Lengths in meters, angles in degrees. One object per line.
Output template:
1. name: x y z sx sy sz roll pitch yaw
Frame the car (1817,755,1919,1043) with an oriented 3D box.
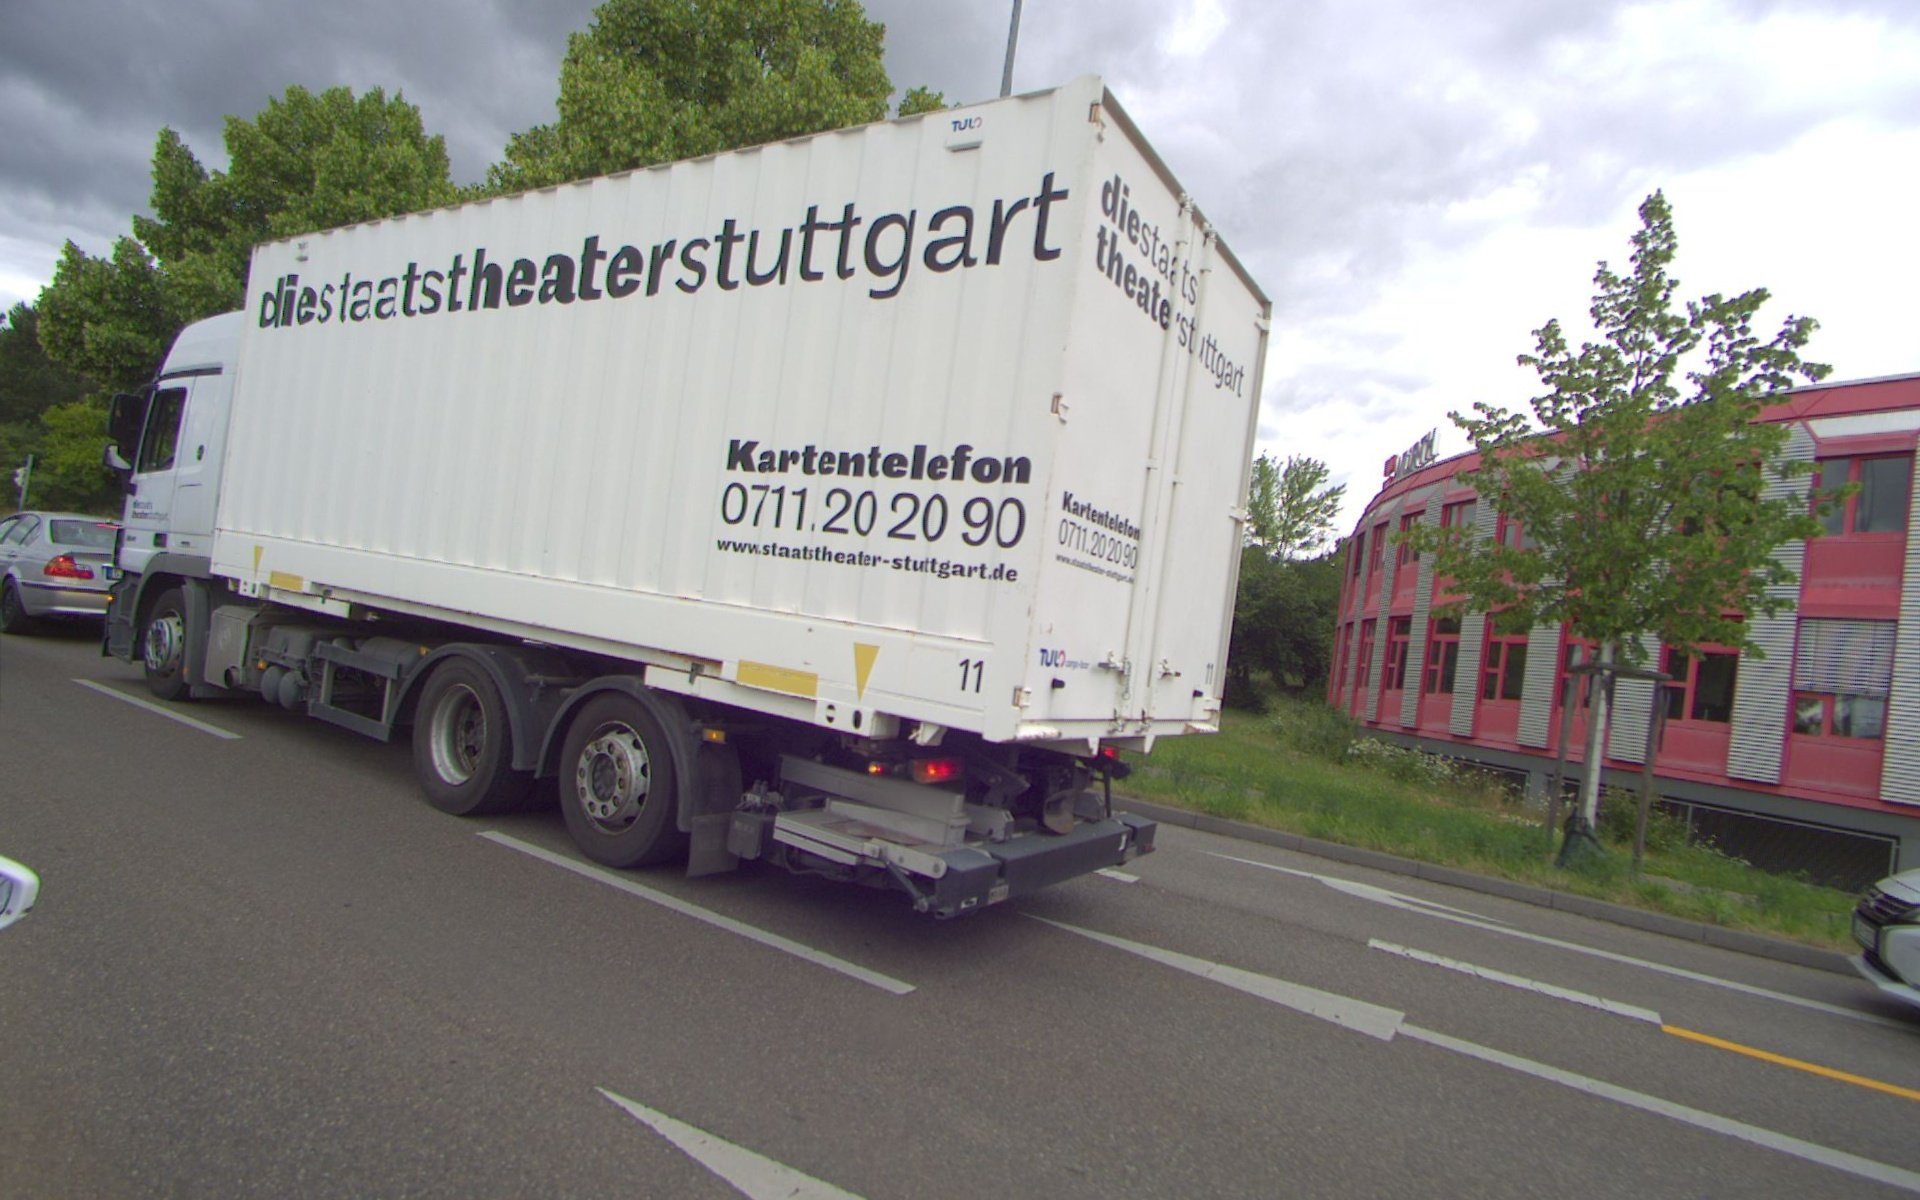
1. car: 7.026 1.897 5.174 3.628 1.474 1.626 7 -2 32

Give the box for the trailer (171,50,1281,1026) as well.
1. trailer: -2.178 -0.509 6.999 7.637 3.750 2.569 7 -1 33

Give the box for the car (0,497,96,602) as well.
1. car: -15.954 -0.952 16.257 4.144 1.452 1.828 6 -2 33

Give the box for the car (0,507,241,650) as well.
1. car: -11.022 -0.345 12.554 4.050 1.370 1.815 6 -2 32

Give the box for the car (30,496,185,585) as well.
1. car: -17.984 -1.275 21.186 3.584 1.454 1.515 7 -1 35

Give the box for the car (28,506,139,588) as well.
1. car: -22.242 -1.348 25.673 1.696 1.656 4.200 10 -3 -38

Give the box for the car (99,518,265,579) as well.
1. car: -34.701 -2.250 45.044 1.967 1.836 5.429 7 -2 32

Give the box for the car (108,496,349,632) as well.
1. car: -13.016 -0.663 17.826 4.432 1.825 1.828 7 -1 33

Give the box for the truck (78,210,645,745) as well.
1. truck: -5.467 -0.943 9.179 4.039 3.750 2.574 8 0 33
